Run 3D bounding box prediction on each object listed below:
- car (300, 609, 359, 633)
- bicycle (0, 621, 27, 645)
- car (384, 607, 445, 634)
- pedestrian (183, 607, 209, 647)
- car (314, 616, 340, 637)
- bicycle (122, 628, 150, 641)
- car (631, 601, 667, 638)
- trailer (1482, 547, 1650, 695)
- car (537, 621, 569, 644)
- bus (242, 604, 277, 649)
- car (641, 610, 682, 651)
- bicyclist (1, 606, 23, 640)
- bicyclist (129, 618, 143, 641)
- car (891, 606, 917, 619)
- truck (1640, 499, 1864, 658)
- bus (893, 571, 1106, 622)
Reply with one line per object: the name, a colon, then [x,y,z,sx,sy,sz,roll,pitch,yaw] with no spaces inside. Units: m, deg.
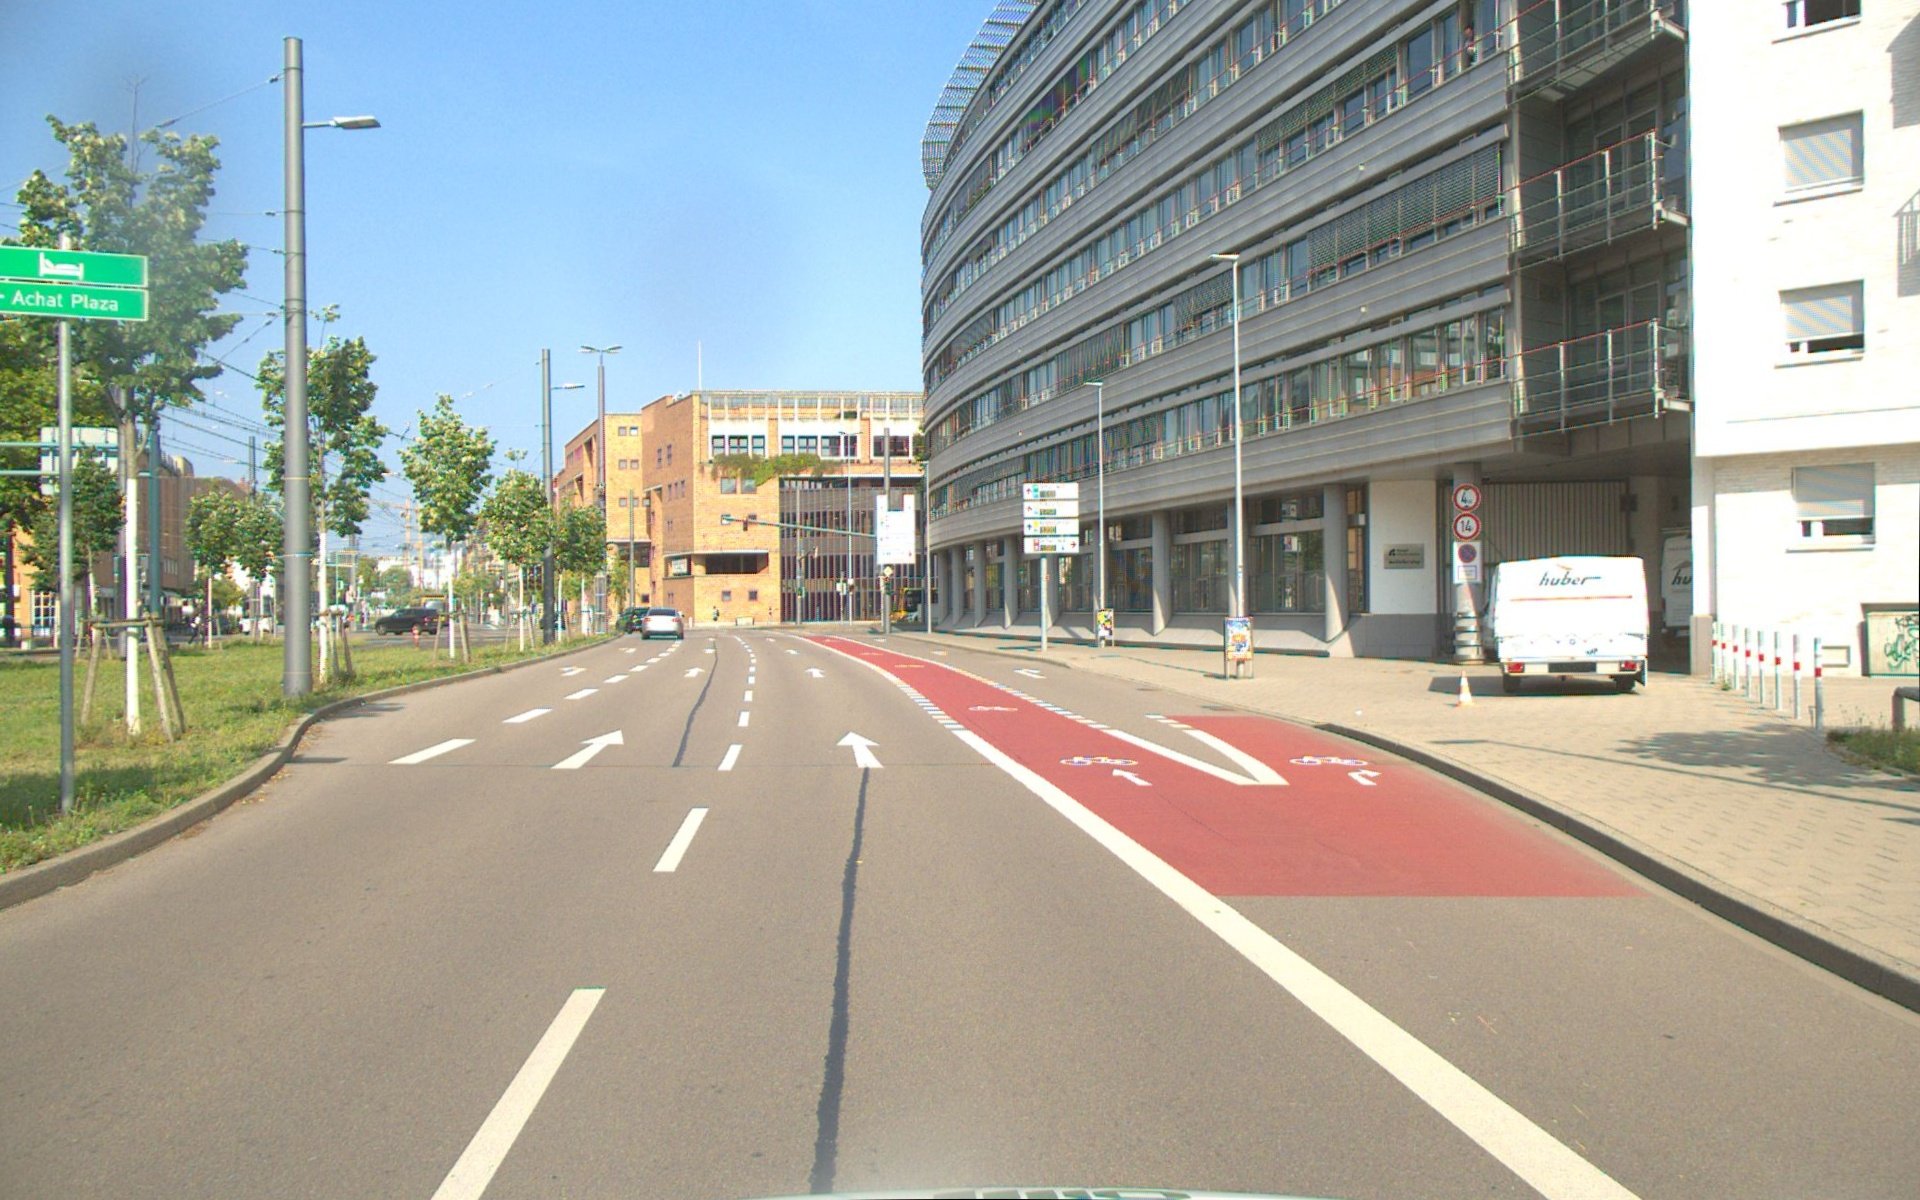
car: [-44.220,1.456,116.048,3.543,1.652,1.864,-1,0,-8]
bicycle: [-51.756,1.816,90.205,2.239,1.228,0.548,-2,-2,33]
car: [-36.581,1.366,110.881,3.918,1.708,1.993,-2,-2,35]
pedestrian: [-39.182,1.376,84.832,1.139,2.049,0.771,0,-2,-22]
car: [-50.460,2.136,131.902,1.708,1.569,3.419,0,-2,-25]
bicycle: [-63.686,2.649,127.842,1.935,0.987,0.416,0,-2,-25]
car: [-18.593,1.193,98.962,1.957,2.049,4.233,-1,-2,-9]
trailer: [9.996,0.314,27.715,2.339,2.189,5.952,-1,0,18]
car: [-37.909,3.066,153.845,1.971,2.049,3.962,0,-2,-28]
bus: [-65.986,2.550,155.996,2.708,3.990,12.134,0,-2,-22]
car: [-13.710,1.436,76.089,1.673,1.786,3.882,-1,-2,-8]
bicyclist: [-51.665,1.254,90.164,0.947,1.777,0.665,-2,-2,33]
bicyclist: [-63.692,2.281,127.865,0.974,1.725,0.665,0,-2,-25]
car: [-4.461,0.997,130.951,1.916,0.975,1.091,1,-3,-10]
truck: [17.979,-0.537,37.373,6.092,3.150,1.972,-5,1,-39]
bus: [3.283,-0.281,136.076,17.289,3.877,2.858,-1,-2,-10]
